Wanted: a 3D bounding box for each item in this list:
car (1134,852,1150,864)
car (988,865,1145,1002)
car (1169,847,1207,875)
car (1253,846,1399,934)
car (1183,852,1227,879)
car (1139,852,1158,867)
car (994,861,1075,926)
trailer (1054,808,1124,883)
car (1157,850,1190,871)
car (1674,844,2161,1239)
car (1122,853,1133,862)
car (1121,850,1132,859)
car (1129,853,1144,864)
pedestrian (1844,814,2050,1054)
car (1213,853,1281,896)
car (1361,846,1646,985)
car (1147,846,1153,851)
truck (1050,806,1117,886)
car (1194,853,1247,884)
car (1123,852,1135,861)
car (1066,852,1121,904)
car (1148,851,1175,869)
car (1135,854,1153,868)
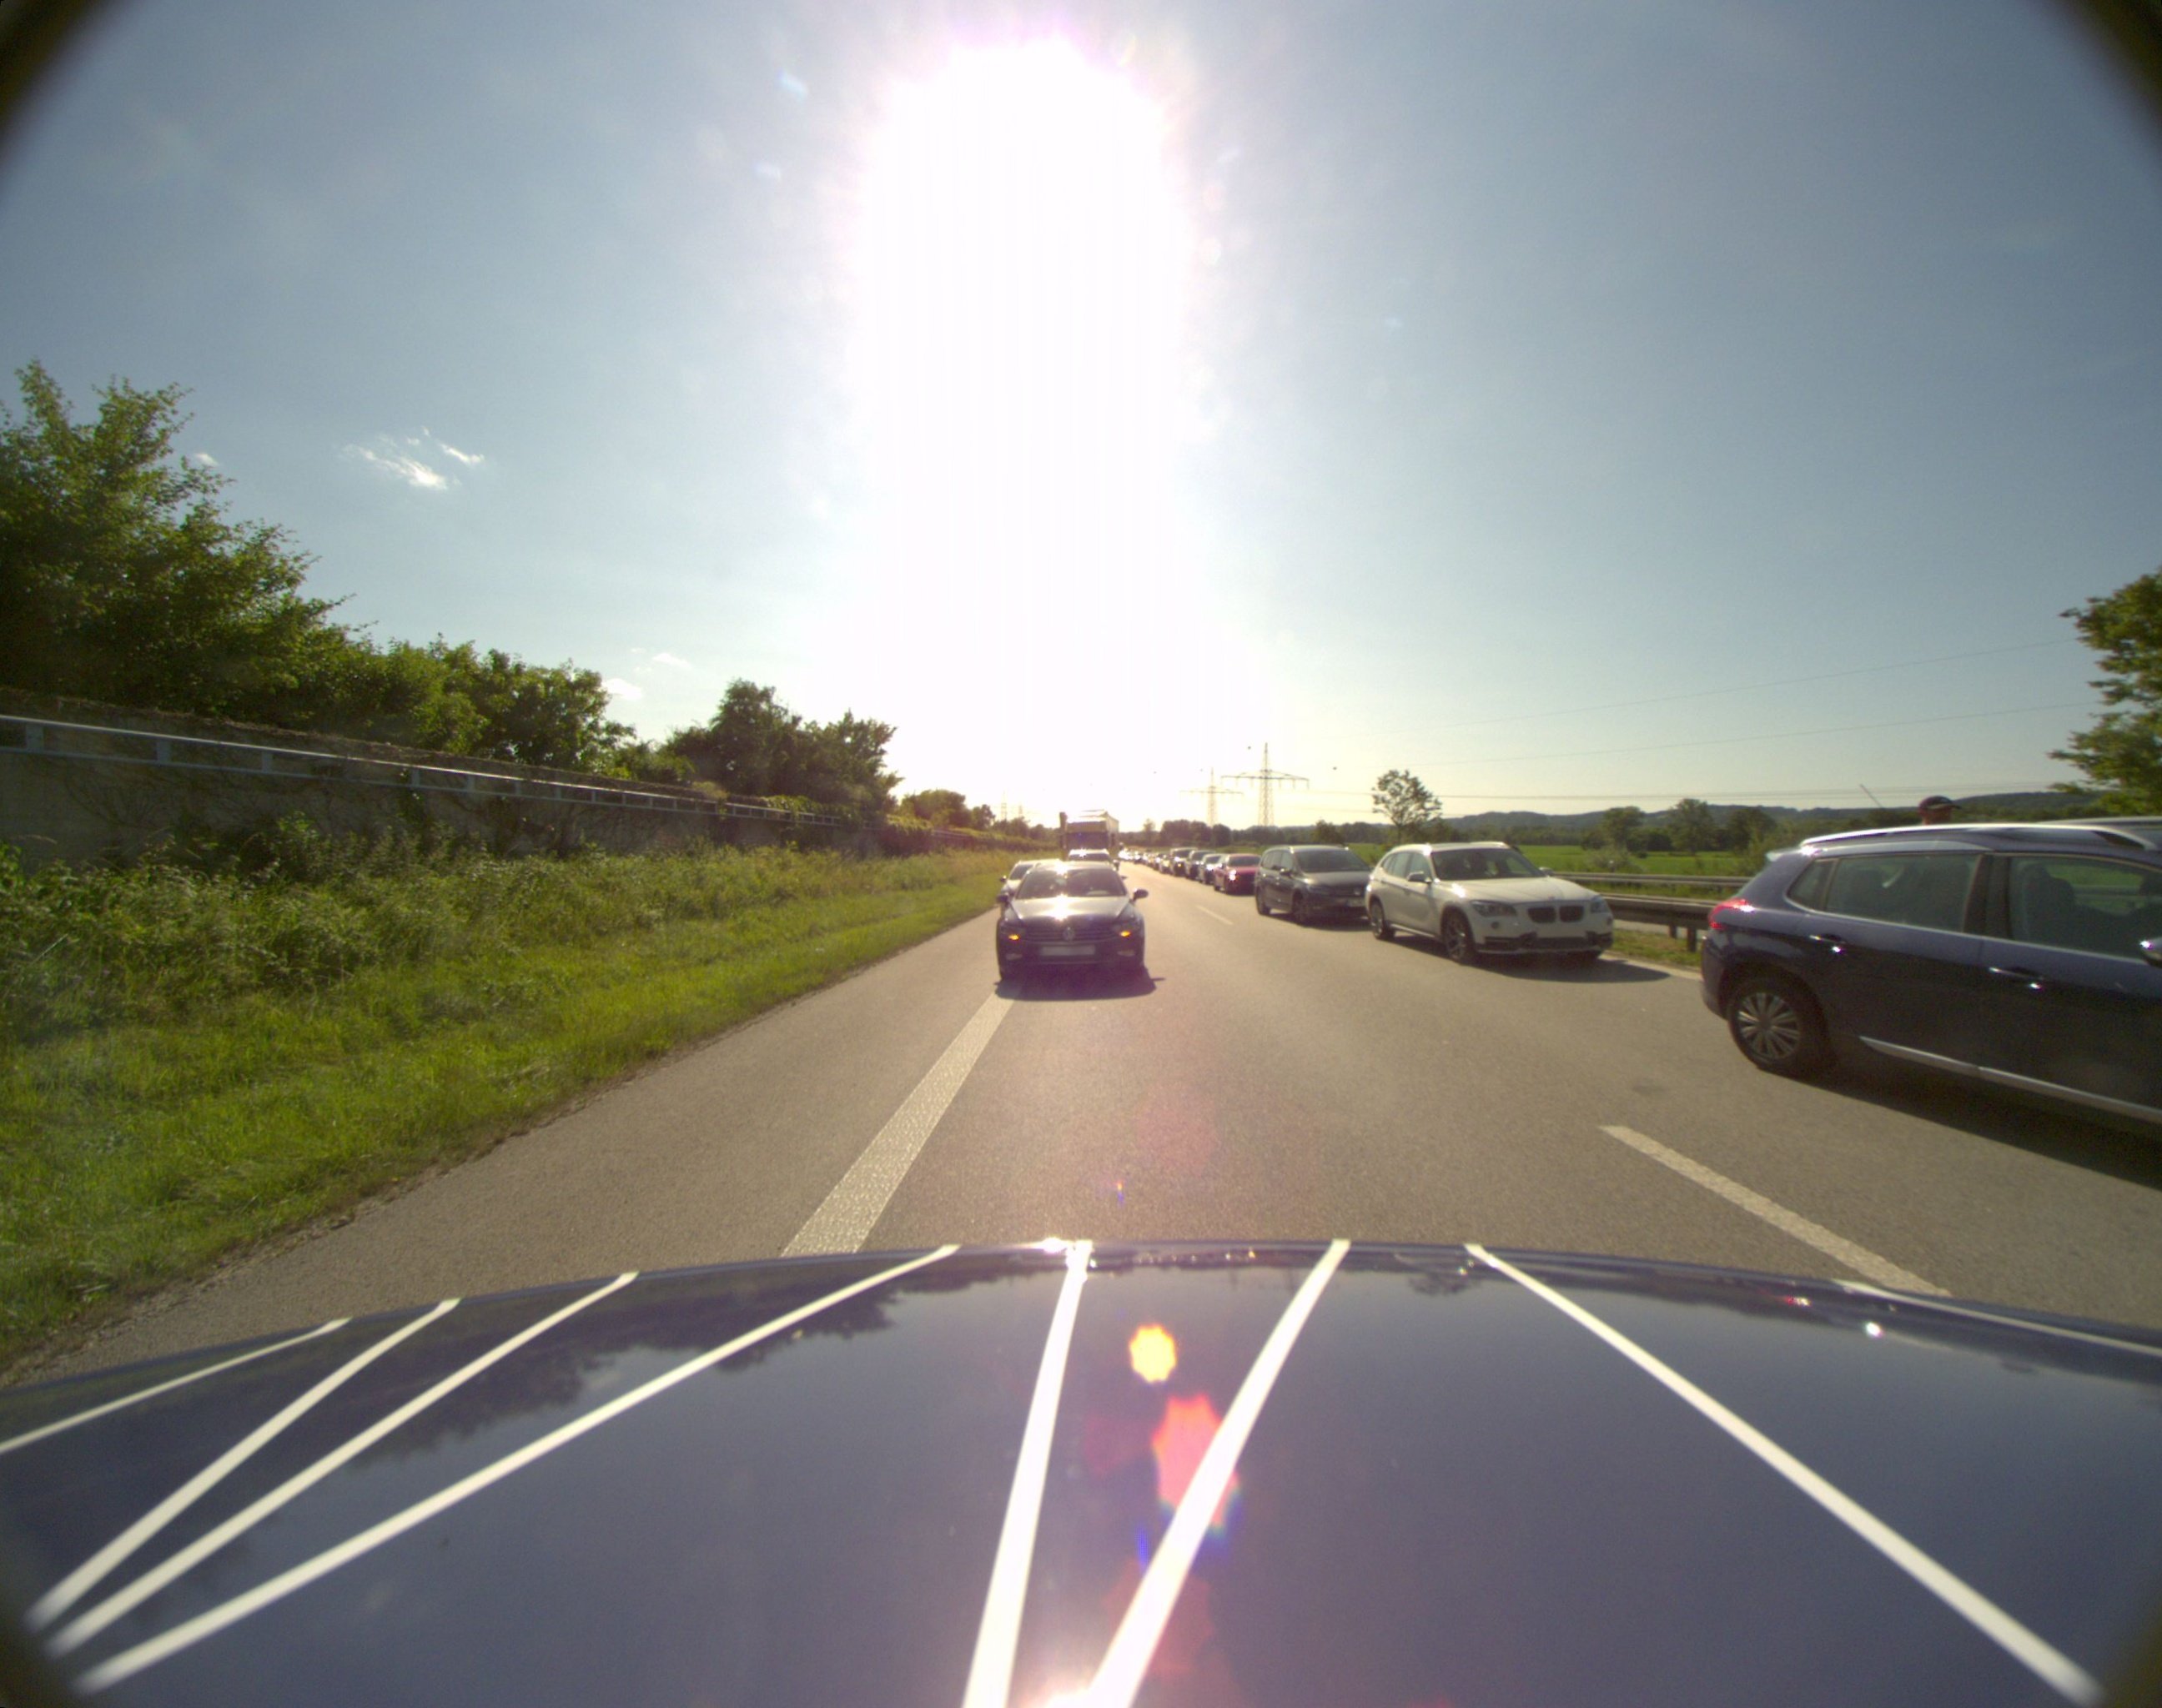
[{"bbox_3d":[7.744,0.543,97.197,1.819,1.450,4.118,0,0,2],"label":"car"},{"bbox_3d":[-0.100,0.927,10.697,1.716,1.405,4.326,-2,0,2],"label":"car"},{"bbox_3d":[6.967,0.434,49.944,1.902,1.777,4.200,-1,0,1],"label":"car"},{"bbox_3d":[5.101,0.668,16.428,1.819,1.606,4.117,-2,0,1],"label":"car"},{"bbox_3d":[6.972,0.621,43.073,1.894,1.446,4.000,-1,0,2],"label":"car"},{"bbox_3d":[7.078,0.584,79.919,1.819,1.450,4.118,-2,0,3],"label":"car"},{"bbox_3d":[-1.112,0.949,20.123,1.716,1.417,4.326,-2,0,2],"label":"car"},{"bbox_3d":[0.854,-0.569,49.487,3.386,4.089,13.956,-2,1,5],"label":"trailer"},{"bbox_3d":[6.910,0.474,57.120,1.998,1.522,4.000,-1,0,1],"label":"car"},{"bbox_3d":[5.141,0.745,3.453,1.692,1.526,3.948,-3,0,-2],"label":"car"},{"bbox_3d":[8.048,0.587,131.647,1.819,1.450,4.118,0,0,3],"label":"car"},{"bbox_3d":[8.481,0.090,140.975,1.813,1.783,3.773,-1,0,1],"label":"car"},{"bbox_3d":[7.762,0.585,105.625,1.819,1.450,4.117,-2,0,1],"label":"car"},{"bbox_3d":[6.701,0.583,5.932,0.672,1.740,0.814,0,1,1],"label":"pedestrian"},{"bbox_3d":[6.085,0.712,28.295,1.819,1.450,4.118,0,0,3],"label":"car"},{"bbox_3d":[5.624,0.703,10.815,1.832,1.564,4.164,-1,0,2],"label":"car"},{"bbox_3d":[22.809,-1.919,252.387,1.863,1.622,4.393,-2,1,3],"label":"car"},{"bbox_3d":[0.314,-0.480,43.400,3.332,4.089,6.970,-2,1,3],"label":"truck"},{"bbox_3d":[6.728,0.677,36.987,1.895,1.390,4.000,-1,0,1],"label":"car"},{"bbox_3d":[7.911,0.429,126.001,1.819,1.450,4.118,-2,0,3],"label":"car"},{"bbox_3d":[0.465,0.772,26.551,1.716,1.614,4.326,-2,0,2],"label":"car"},{"bbox_3d":[6.990,0.526,66.415,1.998,1.522,4.000,-1,0,1],"label":"car"},{"bbox_3d":[7.154,0.783,86.513,1.819,1.450,4.117,0,0,1],"label":"car"}]
